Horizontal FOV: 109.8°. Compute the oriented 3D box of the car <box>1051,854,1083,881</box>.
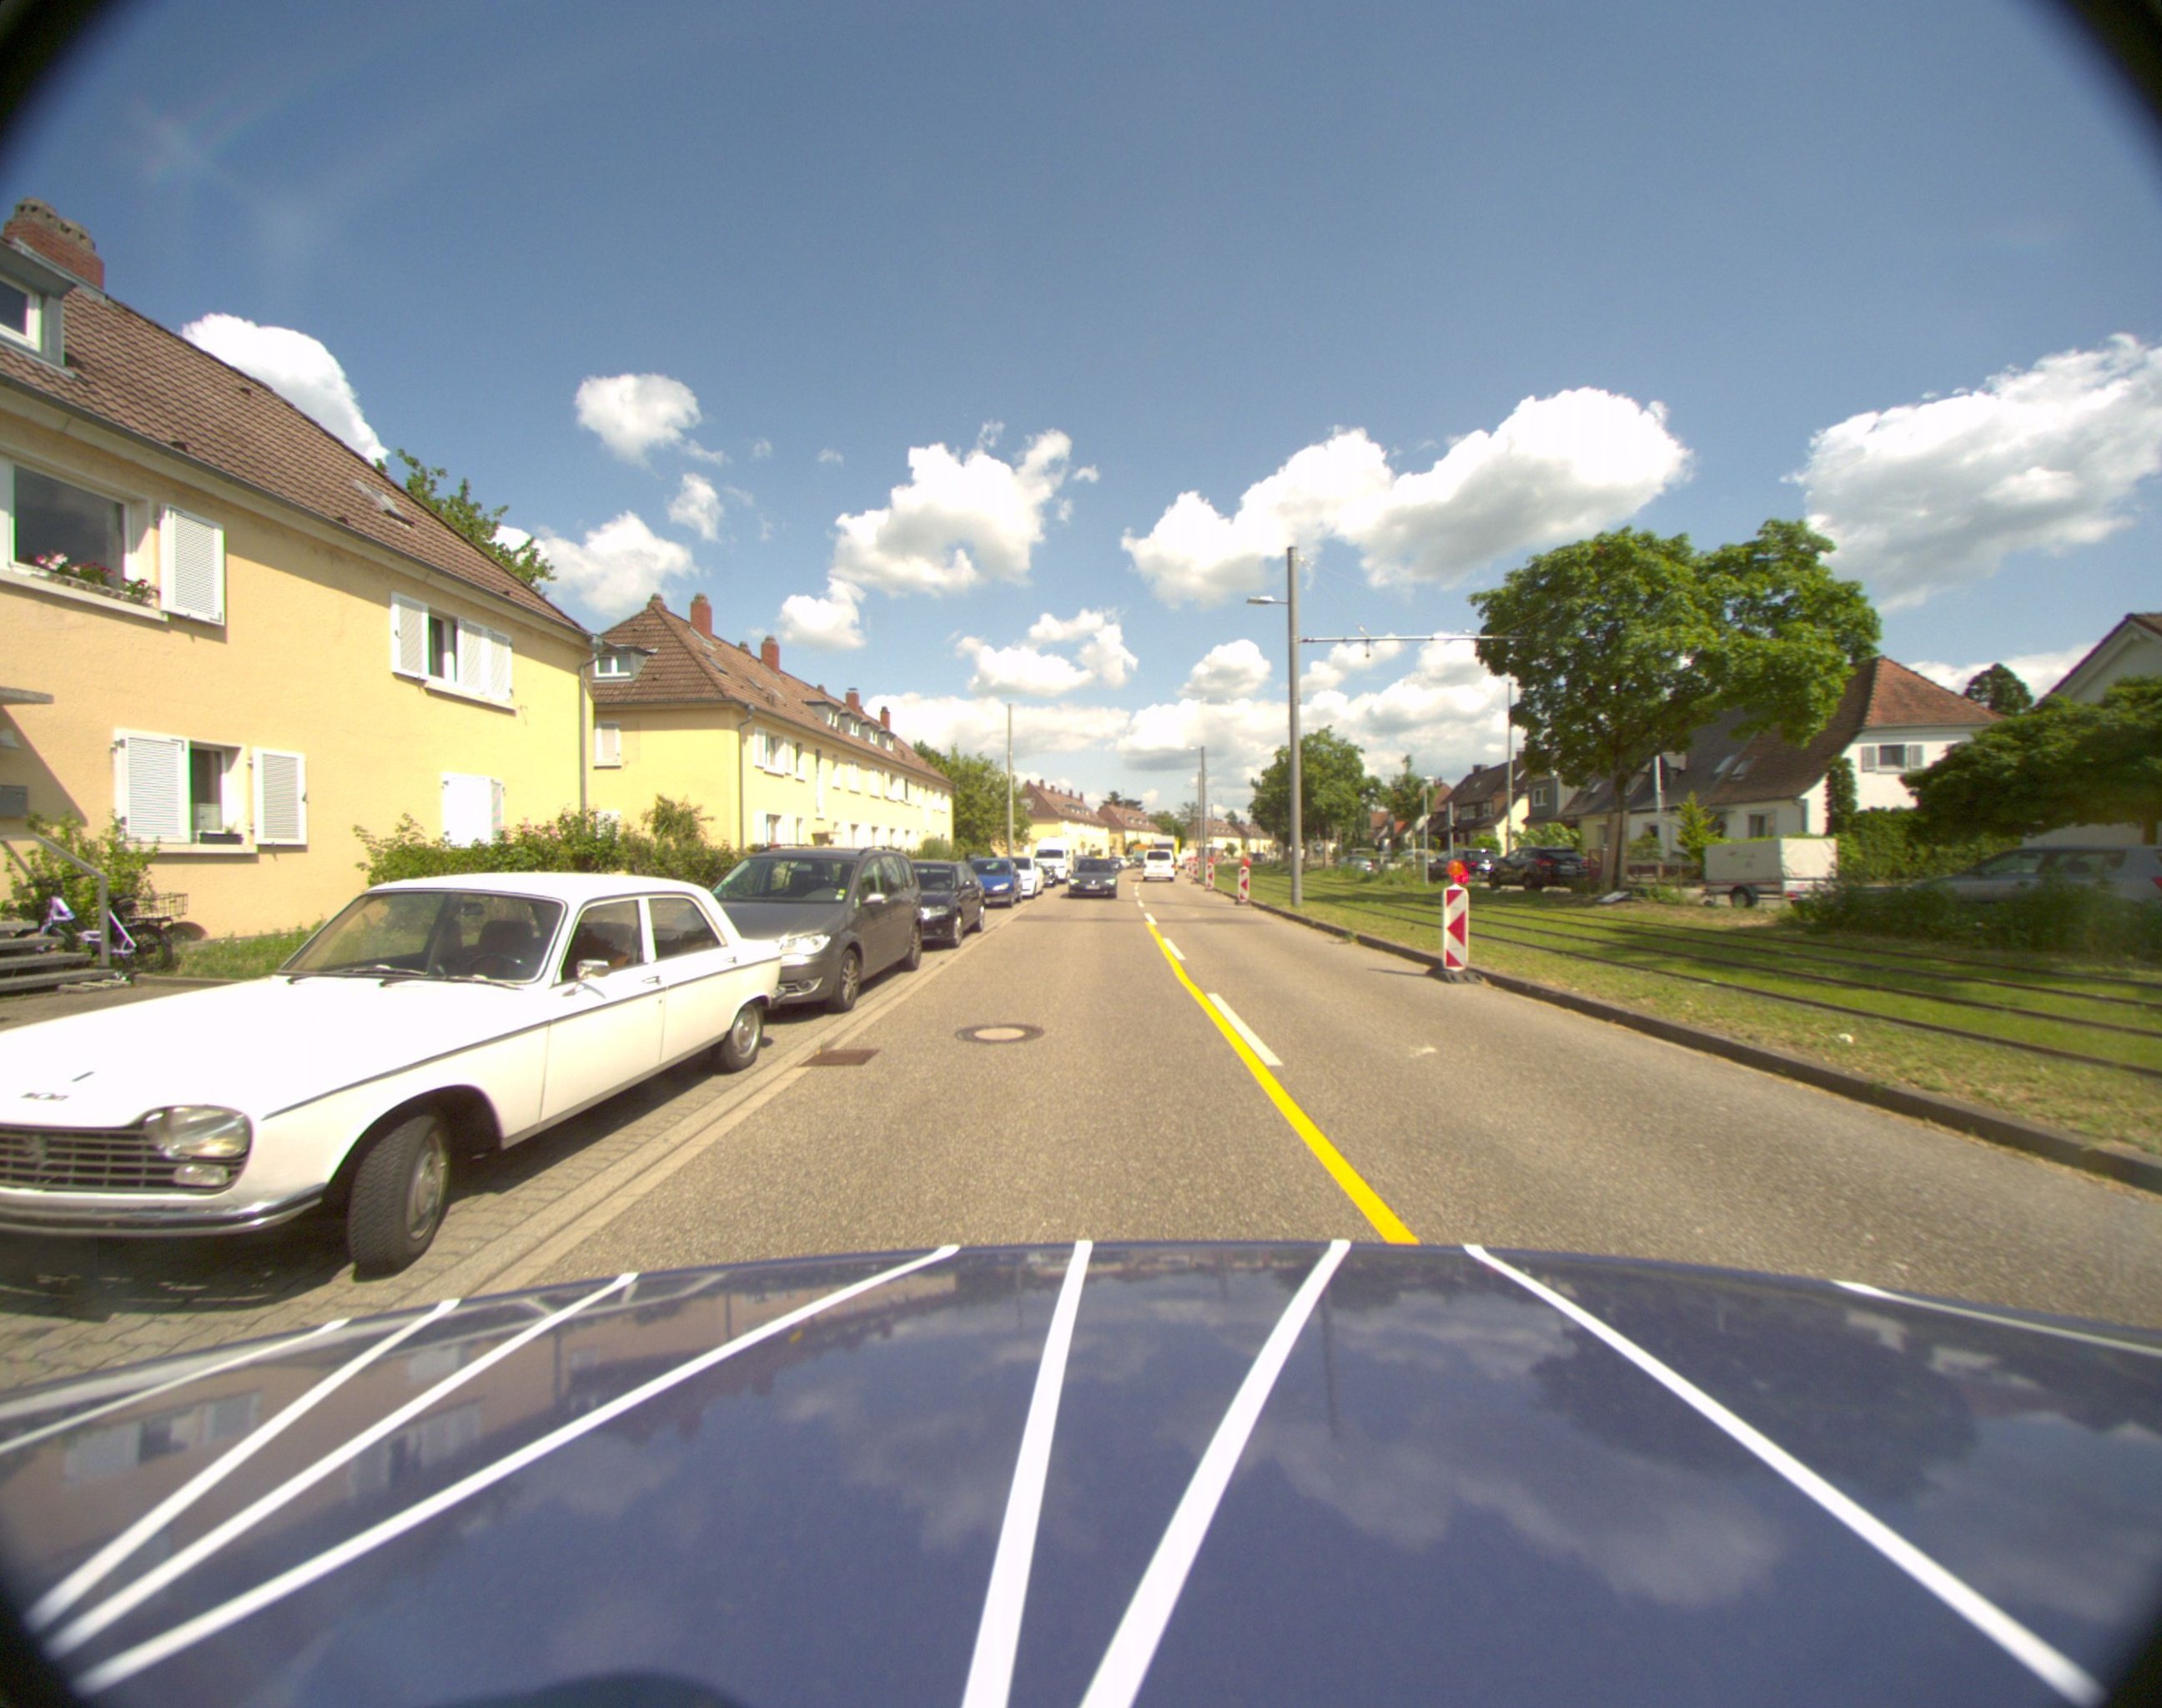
[{"bbox_3d":[-0.805,0.789,46.337,1.513,1.490,3.544,0,1,6],"label":"car"}]

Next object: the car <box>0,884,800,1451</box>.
[{"bbox_3d":[-3.177,0.967,4.176,1.653,1.410,4.026,0,0,2],"label":"car"}]

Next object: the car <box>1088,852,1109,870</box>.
[{"bbox_3d":[1.529,0.570,65.732,1.513,1.490,3.408,0,1,7],"label":"car"}]

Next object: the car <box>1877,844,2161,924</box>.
[{"bbox_3d":[15.647,0.379,12.164,1.785,1.087,3.836,0,1,1],"label":"car"}]

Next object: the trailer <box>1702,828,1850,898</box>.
[{"bbox_3d":[15.823,0.187,17.414,1.302,1.510,2.282,0,1,1],"label":"trailer"}]

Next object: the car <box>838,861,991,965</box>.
[{"bbox_3d":[-2.801,0.919,13.808,1.689,1.429,4.516,1,1,1],"label":"car"}]

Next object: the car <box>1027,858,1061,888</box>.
[{"bbox_3d":[-1.751,0.862,36.559,1.358,1.299,3.543,0,1,2],"label":"car"}]

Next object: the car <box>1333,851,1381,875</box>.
[{"bbox_3d":[18.609,0.579,51.415,1.998,1.531,4.323,0,1,4],"label":"car"}]

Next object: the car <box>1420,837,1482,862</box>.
[{"bbox_3d":[29.156,-0.358,60.012,3.995,2.002,2.001,0,1,7],"label":"car"}]

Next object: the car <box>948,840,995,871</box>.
[{"bbox_3d":[-6.413,0.098,44.978,1.926,1.736,4.048,0,0,4],"label":"car"}]

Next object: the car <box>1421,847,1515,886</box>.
[{"bbox_3d":[16.626,0.487,32.918,1.998,1.531,4.322,0,1,2],"label":"car"}]

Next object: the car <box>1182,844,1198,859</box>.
[{"bbox_3d":[15.223,-0.348,105.871,1.839,2.043,3.872,0,1,13],"label":"car"}]

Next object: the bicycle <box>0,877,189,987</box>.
[{"bbox_3d":[-10.416,0.812,8.000,1.693,1.096,0.290,-1,1,1],"label":"bicycle"}]

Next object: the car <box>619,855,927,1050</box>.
[{"bbox_3d":[-3.050,0.842,8.590,1.683,1.621,4.270,0,0,1],"label":"car"}]

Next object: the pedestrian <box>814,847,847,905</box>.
[{"bbox_3d":[-7.148,0.612,21.706,0.617,1.629,0.901,1,1,2],"label":"pedestrian"}]

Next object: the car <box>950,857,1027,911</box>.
[{"bbox_3d":[-2.708,0.842,23.050,1.701,1.421,3.898,1,1,2],"label":"car"}]

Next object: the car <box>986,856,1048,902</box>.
[{"bbox_3d":[-2.254,0.848,27.936,1.756,1.480,4.628,0,0,2],"label":"car"}]

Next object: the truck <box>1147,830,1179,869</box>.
[{"bbox_3d":[7.477,-0.373,69.348,2.701,3.346,8.053,0,0,6],"label":"truck"}]

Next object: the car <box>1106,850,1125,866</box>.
[{"bbox_3d":[3.579,0.390,78.239,1.512,1.490,3.577,0,1,10],"label":"car"}]

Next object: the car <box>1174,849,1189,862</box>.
[{"bbox_3d":[12.072,0.145,91.107,1.512,1.490,3.578,0,1,13],"label":"car"}]

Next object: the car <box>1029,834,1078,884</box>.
[{"bbox_3d":[-1.417,0.235,41.268,1.923,2.522,5.346,0,0,6],"label":"car"}]

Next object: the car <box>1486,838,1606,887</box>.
[{"bbox_3d":[16.691,0.314,27.567,1.910,1.568,4.102,3,-1,2],"label":"car"}]

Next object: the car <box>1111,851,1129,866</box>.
[{"bbox_3d":[4.306,0.476,82.756,1.512,1.490,3.577,0,1,10],"label":"car"}]

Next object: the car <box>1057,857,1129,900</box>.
[{"bbox_3d":[0.537,0.846,27.903,1.784,1.412,4.294,0,0,12],"label":"car"}]

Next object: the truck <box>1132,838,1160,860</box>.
[{"bbox_3d":[9.164,-0.687,105.982,2.529,2.931,7.869,0,1,15],"label":"truck"}]

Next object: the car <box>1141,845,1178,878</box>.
[{"bbox_3d":[4.815,0.420,47.171,1.944,1.931,4.562,1,0,2],"label":"car"}]

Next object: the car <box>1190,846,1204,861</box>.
[{"bbox_3d":[18.619,-0.070,121.911,1.694,2.418,3.578,0,1,17],"label":"car"}]
